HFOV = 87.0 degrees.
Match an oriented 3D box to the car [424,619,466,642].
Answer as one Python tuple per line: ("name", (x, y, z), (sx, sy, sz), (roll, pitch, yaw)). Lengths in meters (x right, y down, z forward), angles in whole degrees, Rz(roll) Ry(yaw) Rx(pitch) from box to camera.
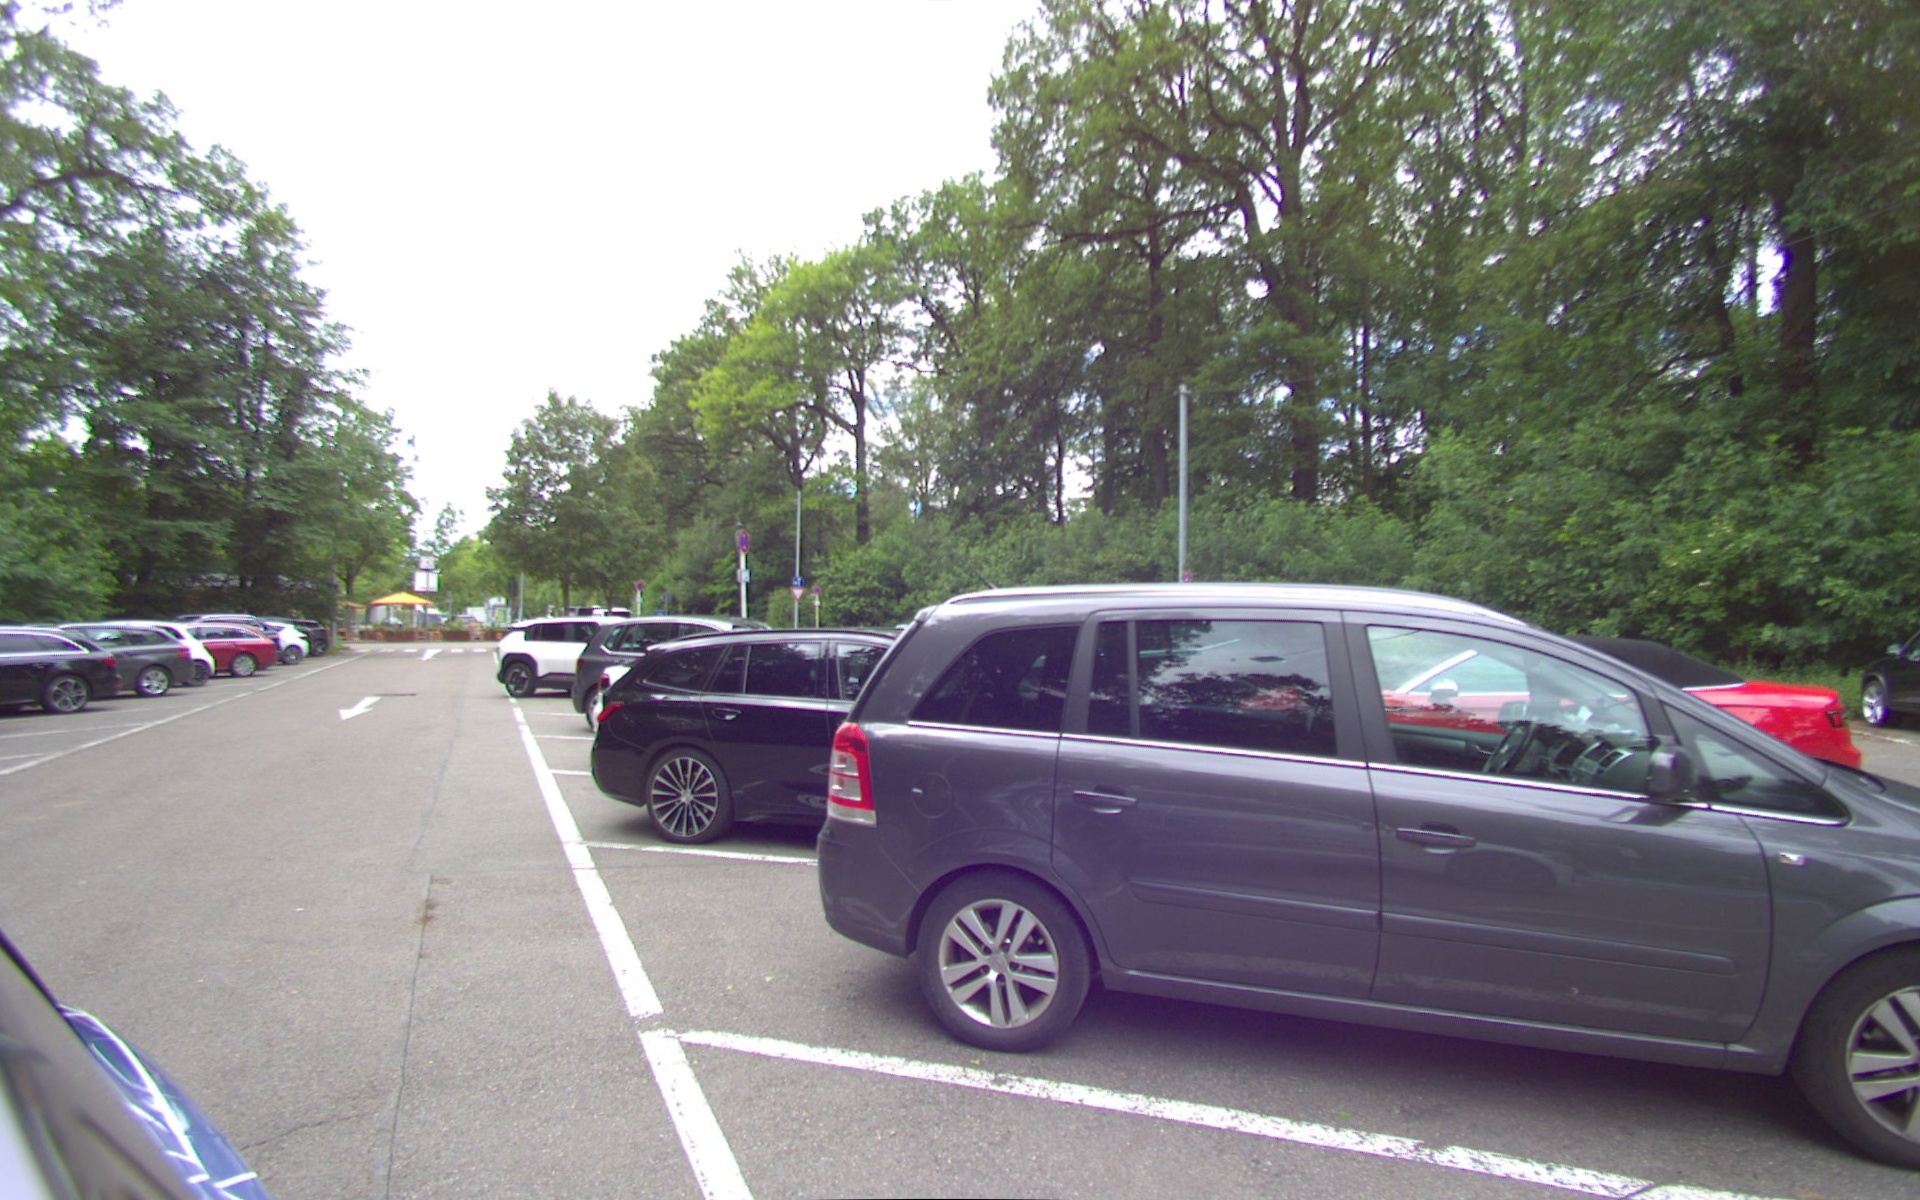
("car", (-39.446, 2.313, 77.485), (1.906, 1.682, 4.351), (1, -2, -41))

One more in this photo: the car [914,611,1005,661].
("car", (0.061, 1.366, 38.965), (2.096, 1.780, 4.677), (0, -2, 20))

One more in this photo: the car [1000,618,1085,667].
("car", (2.801, 1.366, 33.583), (1.855, 1.522, 3.973), (0, -2, 20))

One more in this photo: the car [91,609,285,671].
("car", (-22.016, 1.100, 29.065), (1.830, 1.630, 4.089), (0, -1, 22))

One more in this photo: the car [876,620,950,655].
("car", (-1.910, 1.546, 42.336), (1.727, 1.386, 3.974), (0, -1, 20))

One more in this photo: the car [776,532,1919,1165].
("car", (1.672, 0.660, 3.830), (4.352, 1.621, 1.818), (0, -1, 18))

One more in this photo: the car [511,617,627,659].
("car", (-15.128, 1.444, 39.160), (4.072, 1.534, 1.817), (0, -1, 22))

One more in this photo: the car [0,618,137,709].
("car", (-15.639, 0.967, 15.593), (1.949, 1.388, 4.238), (0, -1, 17))

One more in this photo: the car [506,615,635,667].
("car", (-12.594, 1.306, 32.766), (3.622, 1.597, 1.677), (0, -2, 17))

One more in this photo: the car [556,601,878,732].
("car", (-3.289, 0.856, 13.873), (3.946, 1.599, 1.836), (-1, -2, 19))

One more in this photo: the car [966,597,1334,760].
("car", (2.231, 0.834, 11.947), (3.966, 1.676, 1.888), (0, -1, 18))

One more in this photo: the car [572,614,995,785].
("car", (-1.724, 0.882, 10.119), (3.817, 1.454, 1.761), (0, -1, 20))

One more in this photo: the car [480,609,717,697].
("car", (-7.100, 0.998, 19.957), (4.154, 1.609, 1.836), (0, -2, 17))

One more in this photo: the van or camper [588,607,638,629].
("van or camper", (-47.566, 2.470, 138.819), (2.056, 2.871, 7.280), (0, -1, 24))

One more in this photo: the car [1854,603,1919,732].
("car", (13.341, 0.875, 12.717), (1.771, 1.698, 4.044), (0, -1, 20))

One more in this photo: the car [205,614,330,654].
("car", (-26.841, 1.290, 39.353), (1.686, 1.503, 3.769), (0, -1, 18))

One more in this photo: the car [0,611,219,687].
("car", (-18.788, 1.031, 22.328), (1.723, 1.516, 3.557), (0, -2, 21))

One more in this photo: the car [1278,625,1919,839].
("car", (4.910, 0.925, 8.291), (4.358, 1.405, 1.758), (0, -2, 20))

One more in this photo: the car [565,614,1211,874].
("car", (-0.451, 0.838, 7.178), (4.243, 1.454, 1.749), (0, -1, 18))

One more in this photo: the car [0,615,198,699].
("car", (-17.128, 1.028, 19.040), (1.791, 1.468, 4.160), (0, -2, 19))

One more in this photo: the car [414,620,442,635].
("car", (-61.914, 3.201, 117.840), (1.849, 1.793, 4.300), (2, -2, -42))

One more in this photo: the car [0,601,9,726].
("car", (-14.223, 0.791, 11.741), (1.950, 1.649, 4.235), (0, -1, 19))

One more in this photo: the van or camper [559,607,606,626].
("van or camper", (-59.293, 2.615, 159.027), (2.195, 2.871, 7.267), (0, -1, 29))

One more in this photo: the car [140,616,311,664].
("car", (-23.524, 1.242, 32.592), (1.857, 1.449, 4.089), (0, -1, 22))

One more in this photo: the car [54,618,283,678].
("car", (-20.182, 1.168, 26.022), (1.916, 1.424, 4.262), (0, -1, 23))

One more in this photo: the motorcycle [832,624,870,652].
("motorcycle", (-4.986, 1.733, 46.364), (0.728, 1.217, 2.009), (-1, -1, 29))
